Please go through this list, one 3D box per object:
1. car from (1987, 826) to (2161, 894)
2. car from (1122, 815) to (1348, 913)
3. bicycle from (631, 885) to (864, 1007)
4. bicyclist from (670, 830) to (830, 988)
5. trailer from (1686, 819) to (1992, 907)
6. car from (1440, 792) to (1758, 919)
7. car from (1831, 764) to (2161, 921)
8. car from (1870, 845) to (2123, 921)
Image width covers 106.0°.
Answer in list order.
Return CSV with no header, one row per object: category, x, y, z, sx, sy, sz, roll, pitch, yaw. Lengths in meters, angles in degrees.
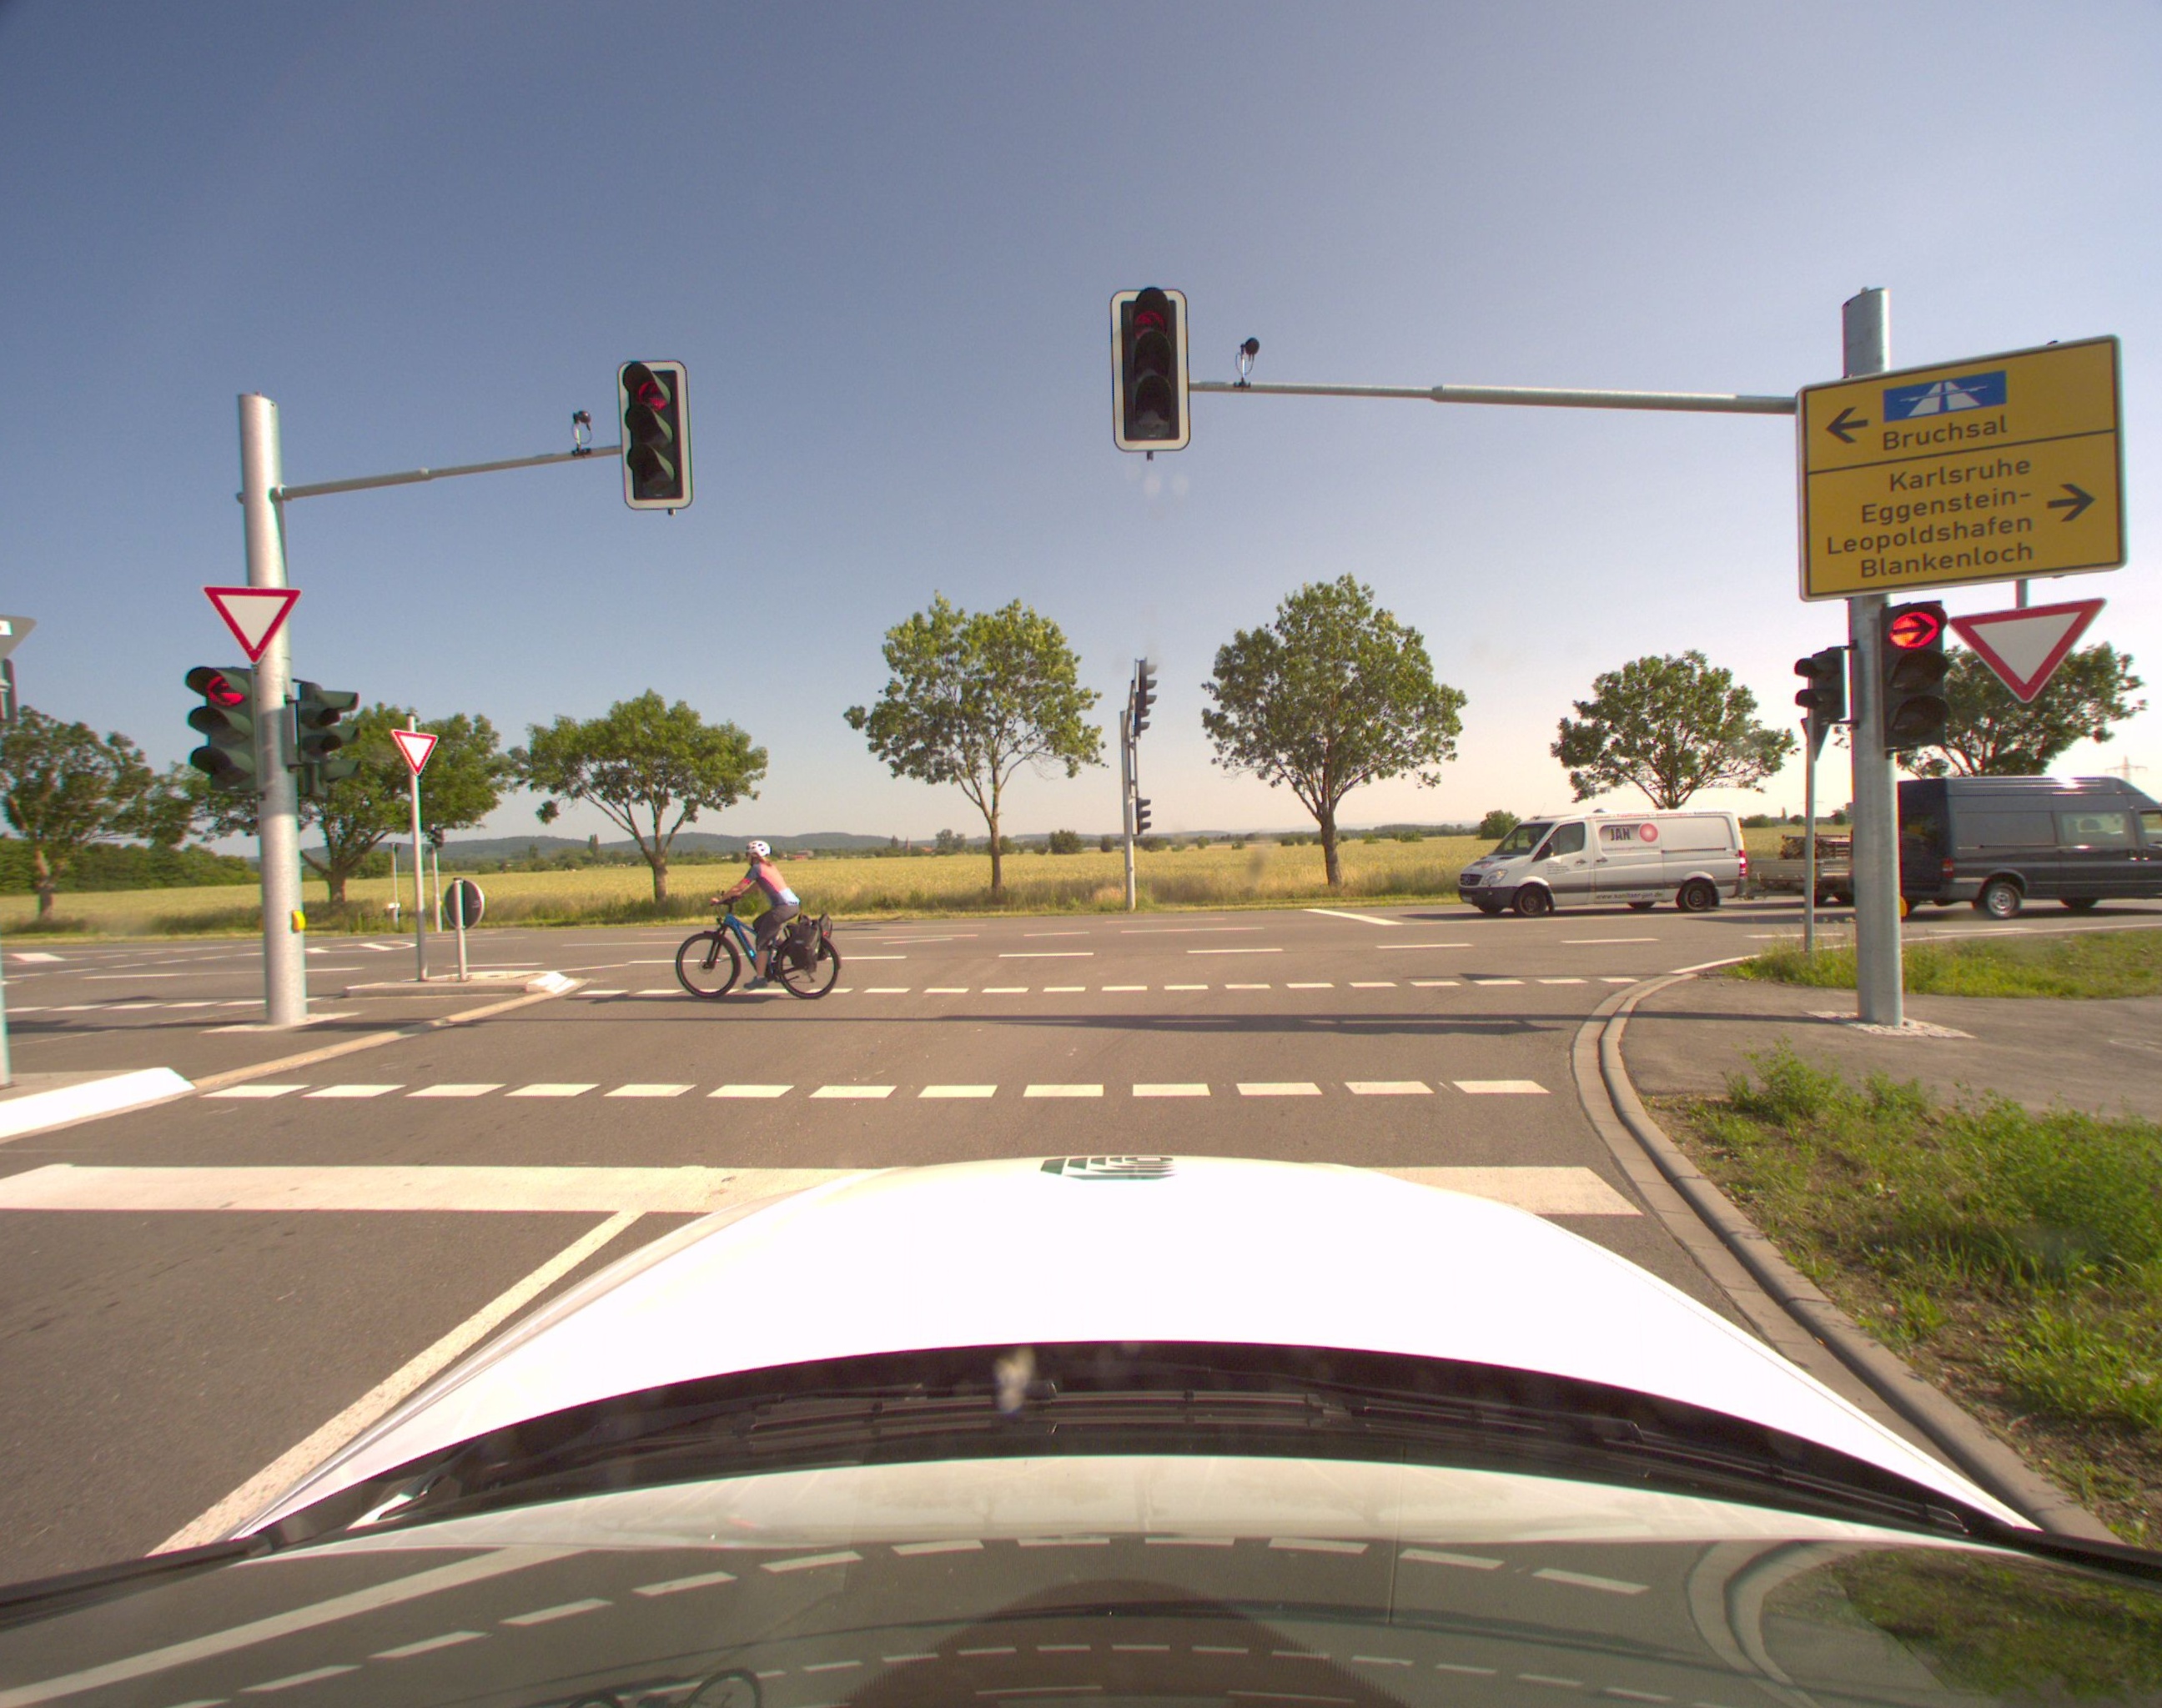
car,24.656,0.139,19.087,4.858,1.510,1.997,0,-1,-4
car,4.243,0.270,23.075,5.880,2.577,2.389,0,-1,-5
bicycle,-3.576,0.971,8.906,2.151,1.186,0.889,-1,-1,-4
bicyclist,-3.579,0.555,8.959,1.276,1.601,1.164,-1,1,-3
trailer,17.303,0.206,18.779,5.245,1.753,1.953,-2,-1,-1
car,11.666,0.045,18.642,5.939,2.493,1.999,-2,-1,-1
car,17.928,-0.240,15.352,5.714,2.622,2.033,-2,0,-1
car,20.136,0.632,17.995,3.982,1.497,1.688,-1,-2,-7
